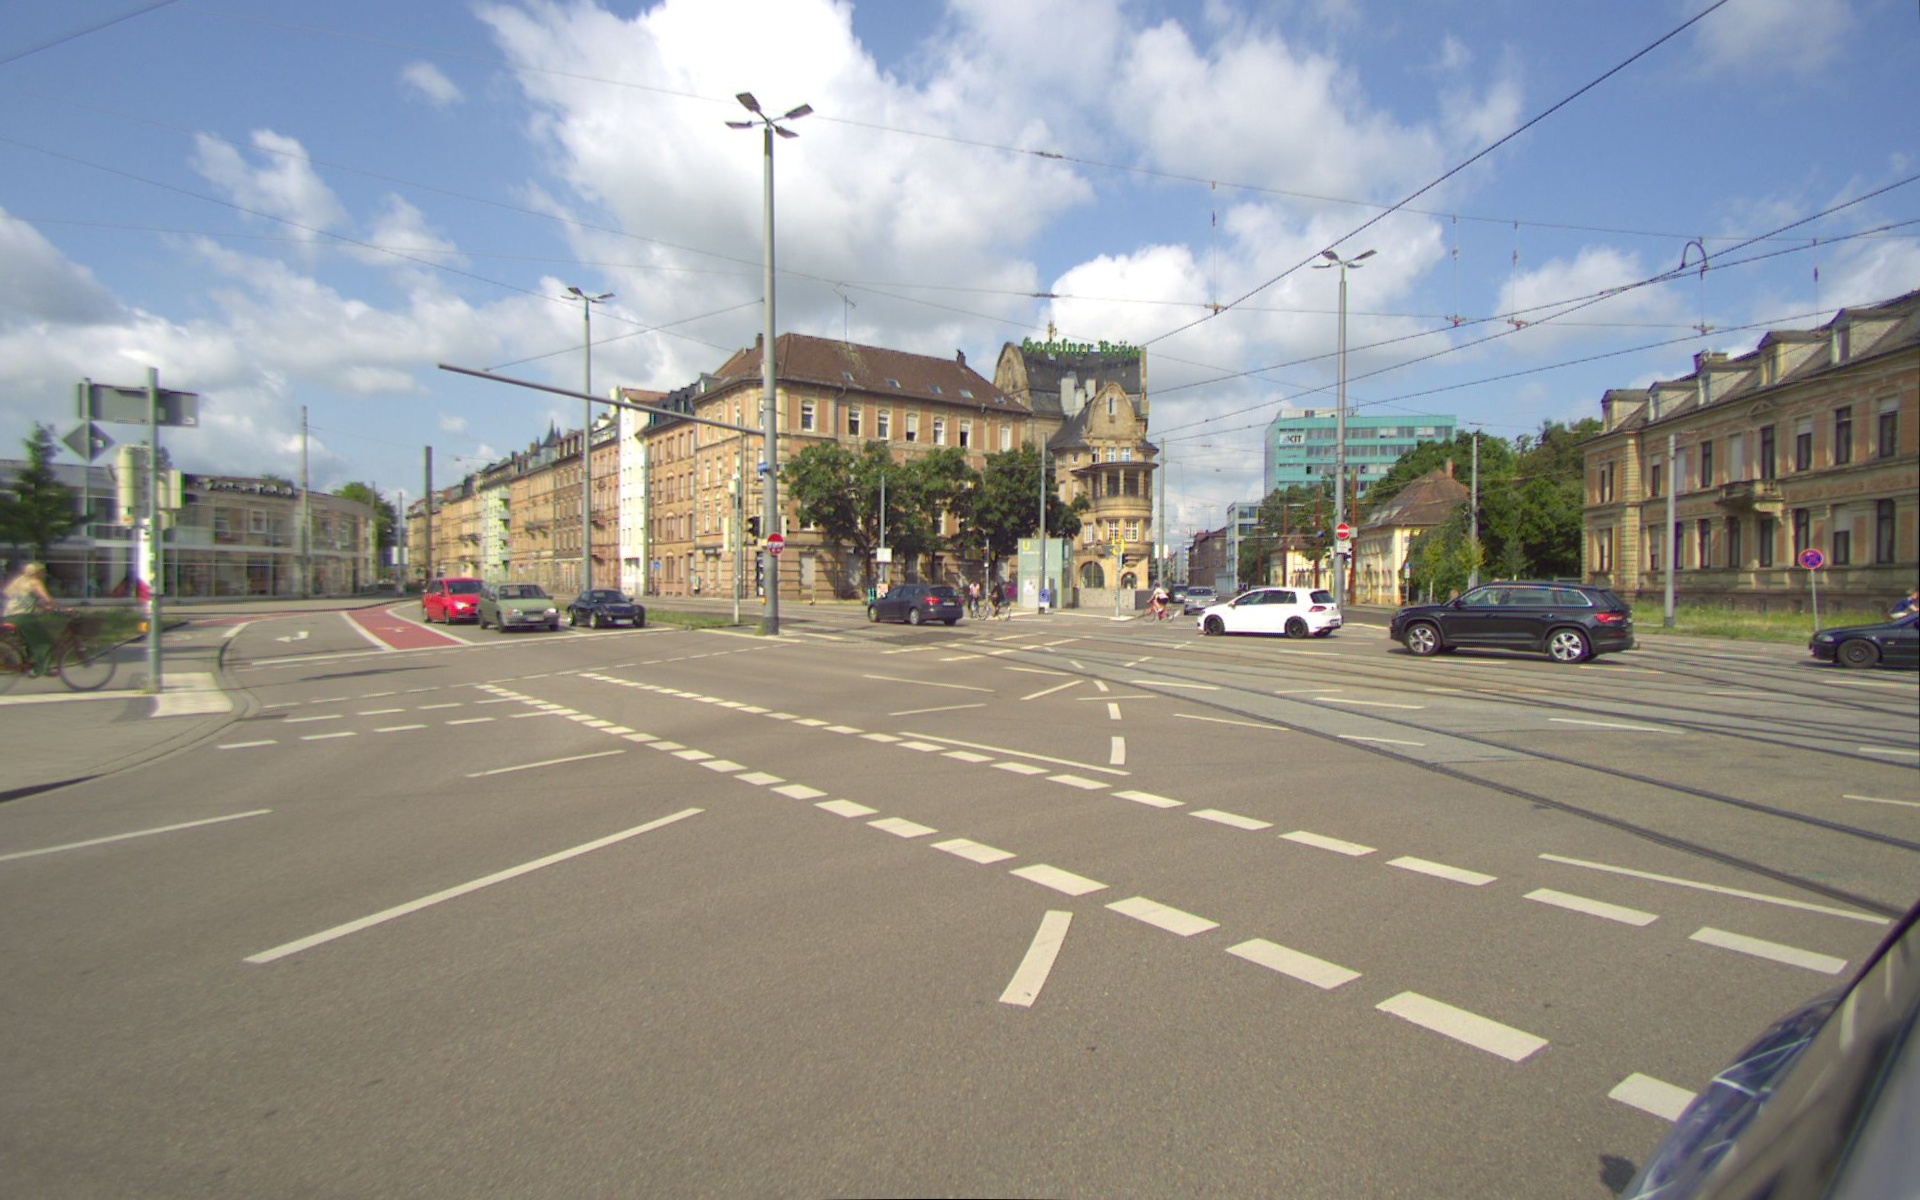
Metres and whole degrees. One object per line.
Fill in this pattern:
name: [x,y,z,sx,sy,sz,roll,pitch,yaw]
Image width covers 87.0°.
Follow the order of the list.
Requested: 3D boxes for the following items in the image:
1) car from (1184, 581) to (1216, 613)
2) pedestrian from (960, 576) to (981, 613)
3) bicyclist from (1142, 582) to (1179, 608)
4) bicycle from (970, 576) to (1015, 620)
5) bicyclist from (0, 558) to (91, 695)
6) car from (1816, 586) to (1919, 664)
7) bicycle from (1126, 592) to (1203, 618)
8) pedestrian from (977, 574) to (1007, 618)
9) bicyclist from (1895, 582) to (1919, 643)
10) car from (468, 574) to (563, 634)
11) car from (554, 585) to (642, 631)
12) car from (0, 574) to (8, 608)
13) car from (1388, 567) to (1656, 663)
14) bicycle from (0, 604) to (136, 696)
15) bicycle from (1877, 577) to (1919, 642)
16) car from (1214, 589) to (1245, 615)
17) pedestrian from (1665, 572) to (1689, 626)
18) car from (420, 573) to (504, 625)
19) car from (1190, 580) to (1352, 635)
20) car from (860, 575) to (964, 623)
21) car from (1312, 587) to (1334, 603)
car: [13.761,-0.202,57.947,1.729,1.619,3.985,0,3,14]
pedestrian: [0.486,-0.270,46.214,0.701,1.662,0.790,1,1,24]
bicyclist: [8.540,-0.213,43.027,1.209,1.040,0.980,-2,1,39]
bicycle: [1.384,-0.109,43.849,0.988,1.746,2.474,-2,3,-23]
bicyclist: [-12.359,0.352,13.512,0.703,1.768,0.822,1,-3,20]
car: [19.392,0.524,19.390,4.492,1.415,1.970,3,3,42]
bicycle: [8.639,0.214,42.953,3.093,1.040,0.982,-1,1,40]
pedestrian: [1.380,-0.189,43.889,0.975,1.863,0.998,-2,3,-23]
bicyclist: [26.919,0.345,28.628,0.654,1.691,0.565,1,3,43]
car: [-13.073,0.046,29.655,1.792,1.531,4.001,-3,4,-34]
car: [-11.303,0.206,31.422,1.596,1.175,4.001,-3,4,-34]
car: [-46.953,-0.416,47.956,3.973,1.571,1.903,2,3,35]
car: [11.826,0.224,21.495,4.664,1.688,1.971,3,3,40]
bicycle: [-12.400,0.644,13.542,0.779,1.142,1.979,2,-1,19]
bicycle: [26.977,0.254,28.539,1.632,1.799,0.720,1,1,45]
car: [18.195,0.114,68.537,1.888,1.526,3.987,0,3,13]
pedestrian: [27.380,-0.056,38.651,0.654,2.038,0.642,0,3,31]
car: [-16.906,-0.082,34.236,1.962,1.537,4.001,-3,4,-34]
car: [8.958,0.189,29.387,4.218,1.464,1.658,0,1,44]
car: [-1.807,-0.093,36.704,1.740,1.547,4.255,-2,3,-36]
car: [39.667,-0.531,110.690,1.729,1.548,3.987,1,3,12]
